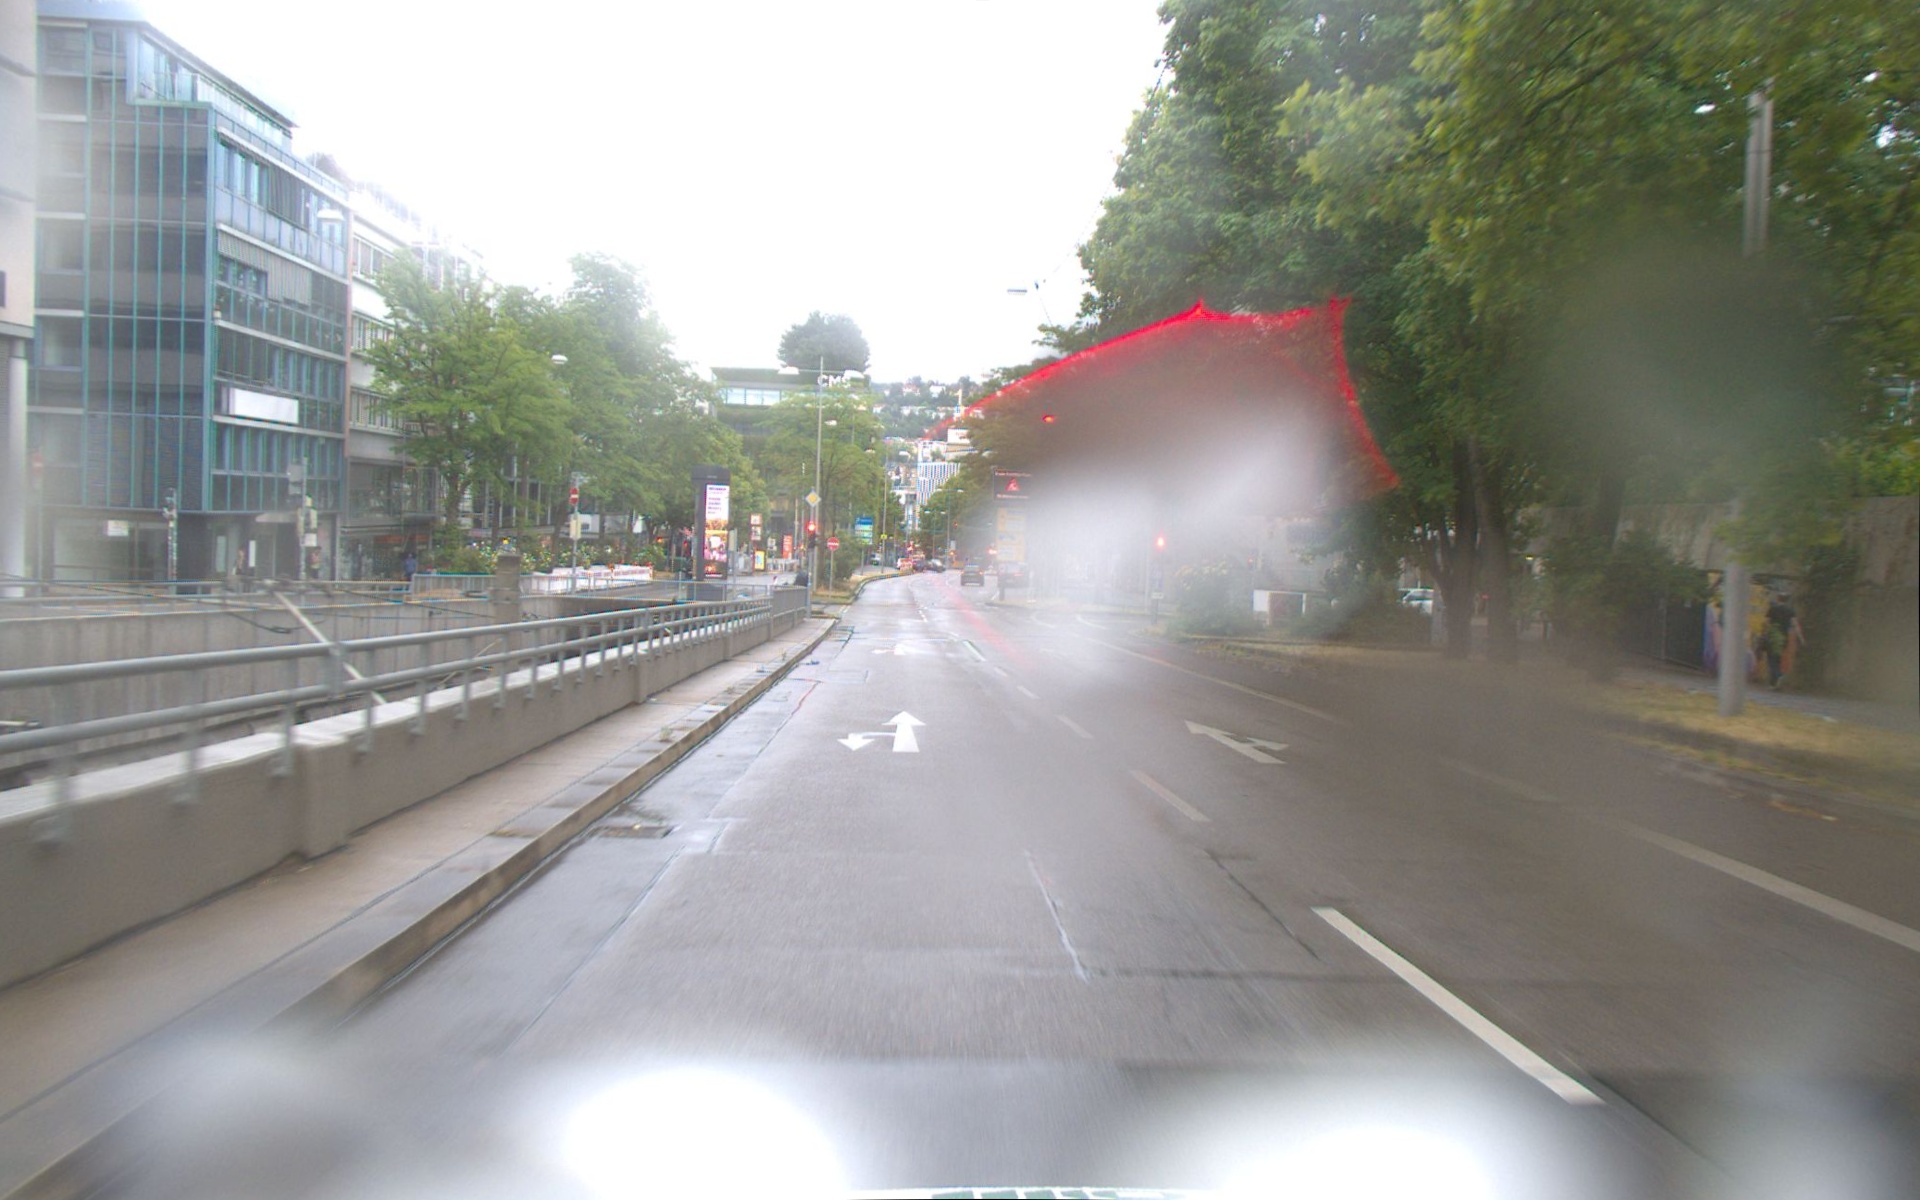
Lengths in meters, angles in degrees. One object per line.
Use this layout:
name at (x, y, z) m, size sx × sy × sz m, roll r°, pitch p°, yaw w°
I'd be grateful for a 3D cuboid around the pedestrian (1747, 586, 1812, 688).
pedestrian at (15.590, 0.692, 31.488) m, size 0.790 × 1.897 × 1.057 m, roll 1°, pitch 0°, yaw 7°

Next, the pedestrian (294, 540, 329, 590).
pedestrian at (-25.716, -1.377, 65.593) m, size 0.846 × 1.901 × 0.960 m, roll 3°, pitch 0°, yaw 16°

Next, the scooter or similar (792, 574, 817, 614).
scooter or similar at (-5.966, -0.242, 63.460) m, size 0.537 × 1.443 × 1.947 m, roll 2°, pitch 1°, yaw -16°

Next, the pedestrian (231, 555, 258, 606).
pedestrian at (-24.463, -0.669, 56.551) m, size 0.651 × 1.700 × 0.487 m, roll 2°, pitch 0°, yaw -3°

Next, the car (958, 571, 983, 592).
car at (0.778, -1.445, 128.781) m, size 1.711 × 1.545 × 4.105 m, roll 3°, pitch 1°, yaw -2°

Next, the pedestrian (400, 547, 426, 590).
pedestrian at (-25.259, -1.455, 76.332) m, size 0.859 × 1.900 × 0.866 m, roll 3°, pitch 0°, yaw -4°

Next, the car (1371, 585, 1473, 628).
car at (20.303, 0.287, 72.679) m, size 4.292 × 1.713 × 1.736 m, roll 2°, pitch 1°, yaw -28°

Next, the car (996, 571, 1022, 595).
car at (3.754, -1.285, 126.037) m, size 1.862 × 1.713 × 3.912 m, roll 3°, pitch 1°, yaw 2°

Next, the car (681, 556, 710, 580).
car at (-19.929, -2.398, 124.764) m, size 1.745 × 1.582 × 3.892 m, roll 3°, pitch 3°, yaw -3°

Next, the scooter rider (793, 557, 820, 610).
scooter rider at (-5.908, -0.624, 63.550) m, size 0.796 × 1.982 × 0.818 m, roll 3°, pitch 0°, yaw -17°
